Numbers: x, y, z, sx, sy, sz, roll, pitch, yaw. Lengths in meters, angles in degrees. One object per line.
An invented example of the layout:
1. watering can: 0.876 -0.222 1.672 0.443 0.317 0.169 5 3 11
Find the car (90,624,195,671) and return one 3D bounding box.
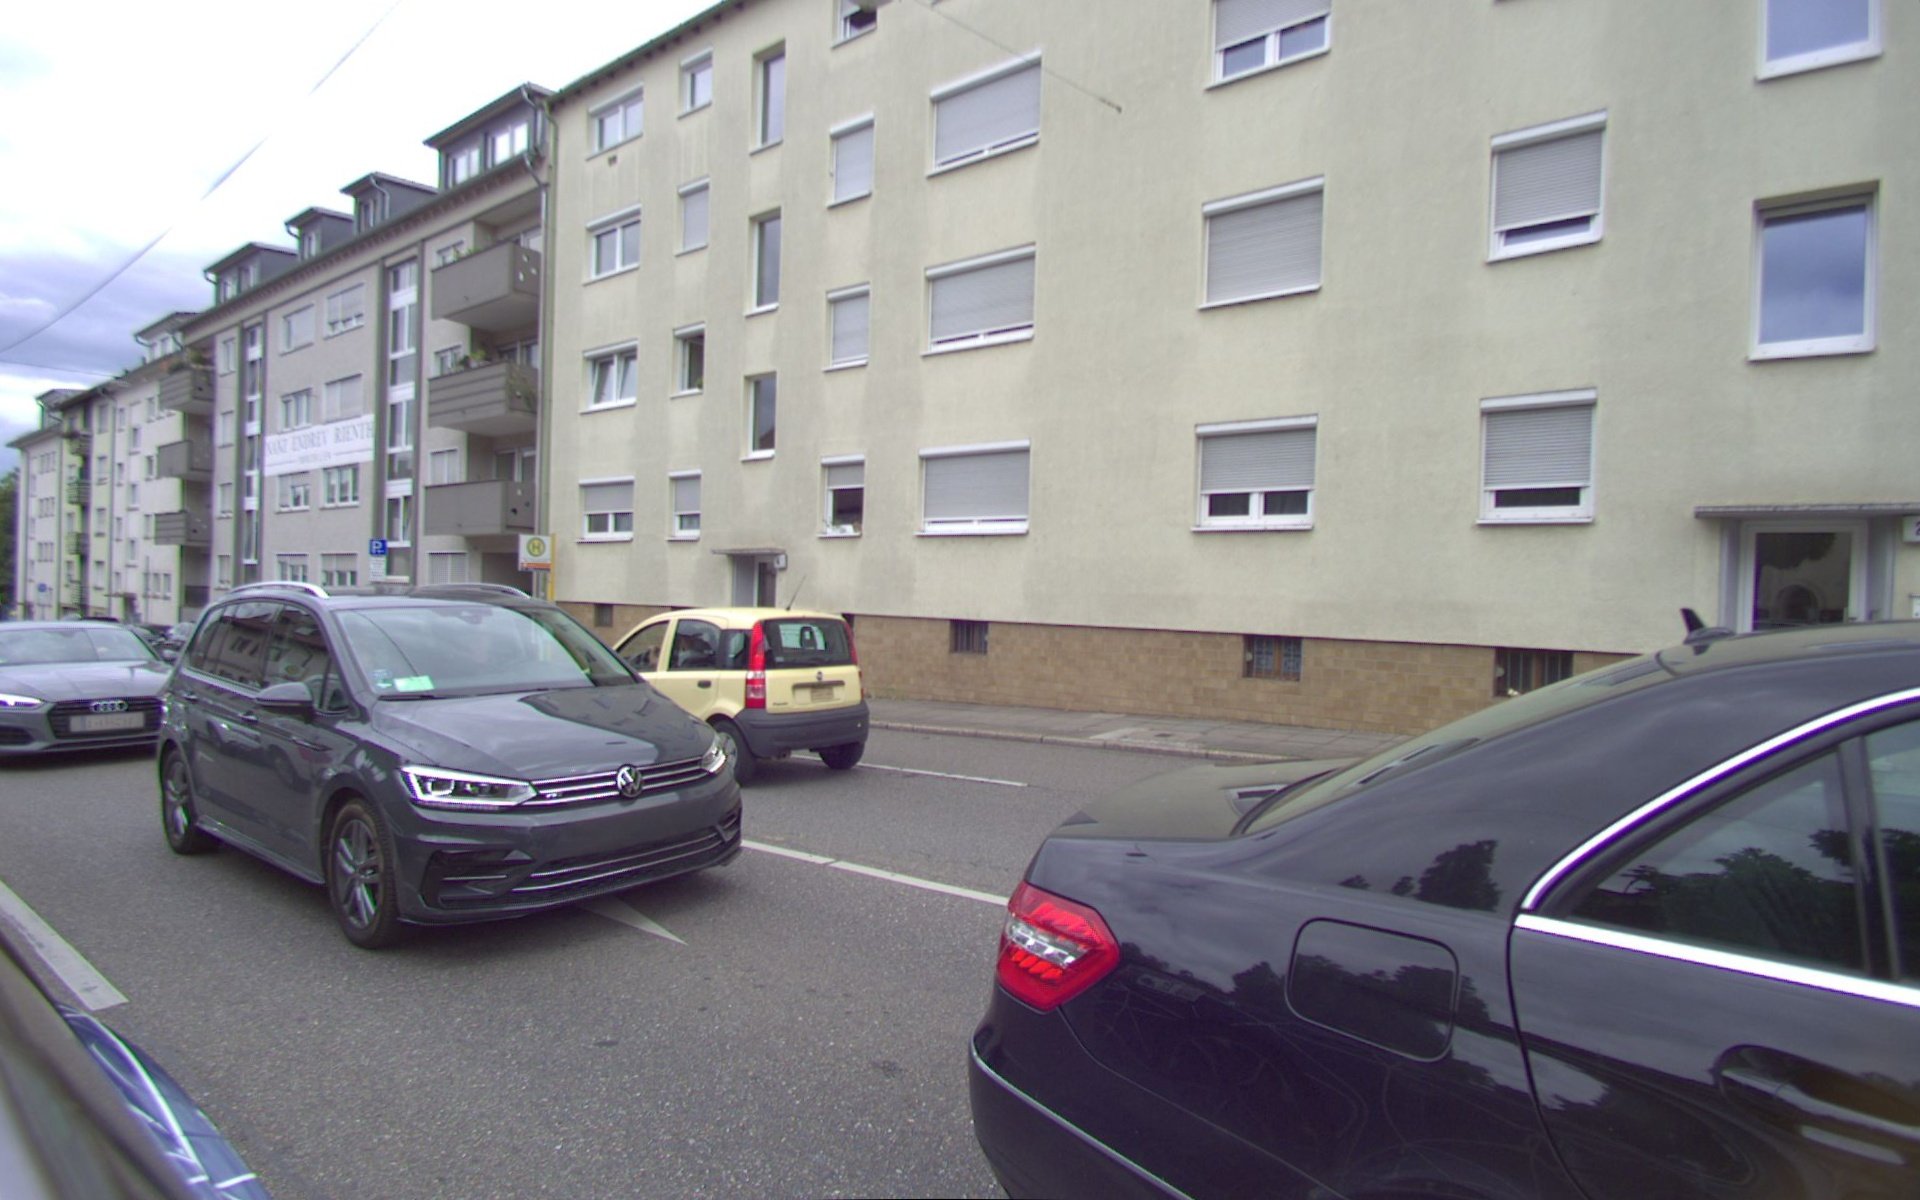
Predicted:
1. car: -26.552 1.521 32.854 3.533 1.414 1.755 0 -3 36

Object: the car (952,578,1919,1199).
1. car: 2.449 0.687 0.881 4.840 1.439 1.973 -1 -1 41

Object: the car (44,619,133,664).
1. car: -33.459 1.586 38.825 3.533 1.613 1.755 0 -3 36

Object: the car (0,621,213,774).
1. car: -9.744 0.916 10.907 4.144 1.365 1.858 -1 -2 41

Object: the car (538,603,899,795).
1. car: -2.410 0.832 9.800 3.455 1.529 1.582 -1 -3 38

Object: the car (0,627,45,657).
1. car: -46.511 2.034 49.570 3.752 1.414 1.755 0 -3 36

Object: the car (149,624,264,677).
1. car: -21.759 1.433 29.196 3.533 1.386 1.649 0 -3 36

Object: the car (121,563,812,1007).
1. car: -3.069 0.689 5.825 4.473 1.623 1.840 -1 0 38

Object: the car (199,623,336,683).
1. car: -17.893 1.345 26.112 3.679 1.422 1.755 0 -3 36
